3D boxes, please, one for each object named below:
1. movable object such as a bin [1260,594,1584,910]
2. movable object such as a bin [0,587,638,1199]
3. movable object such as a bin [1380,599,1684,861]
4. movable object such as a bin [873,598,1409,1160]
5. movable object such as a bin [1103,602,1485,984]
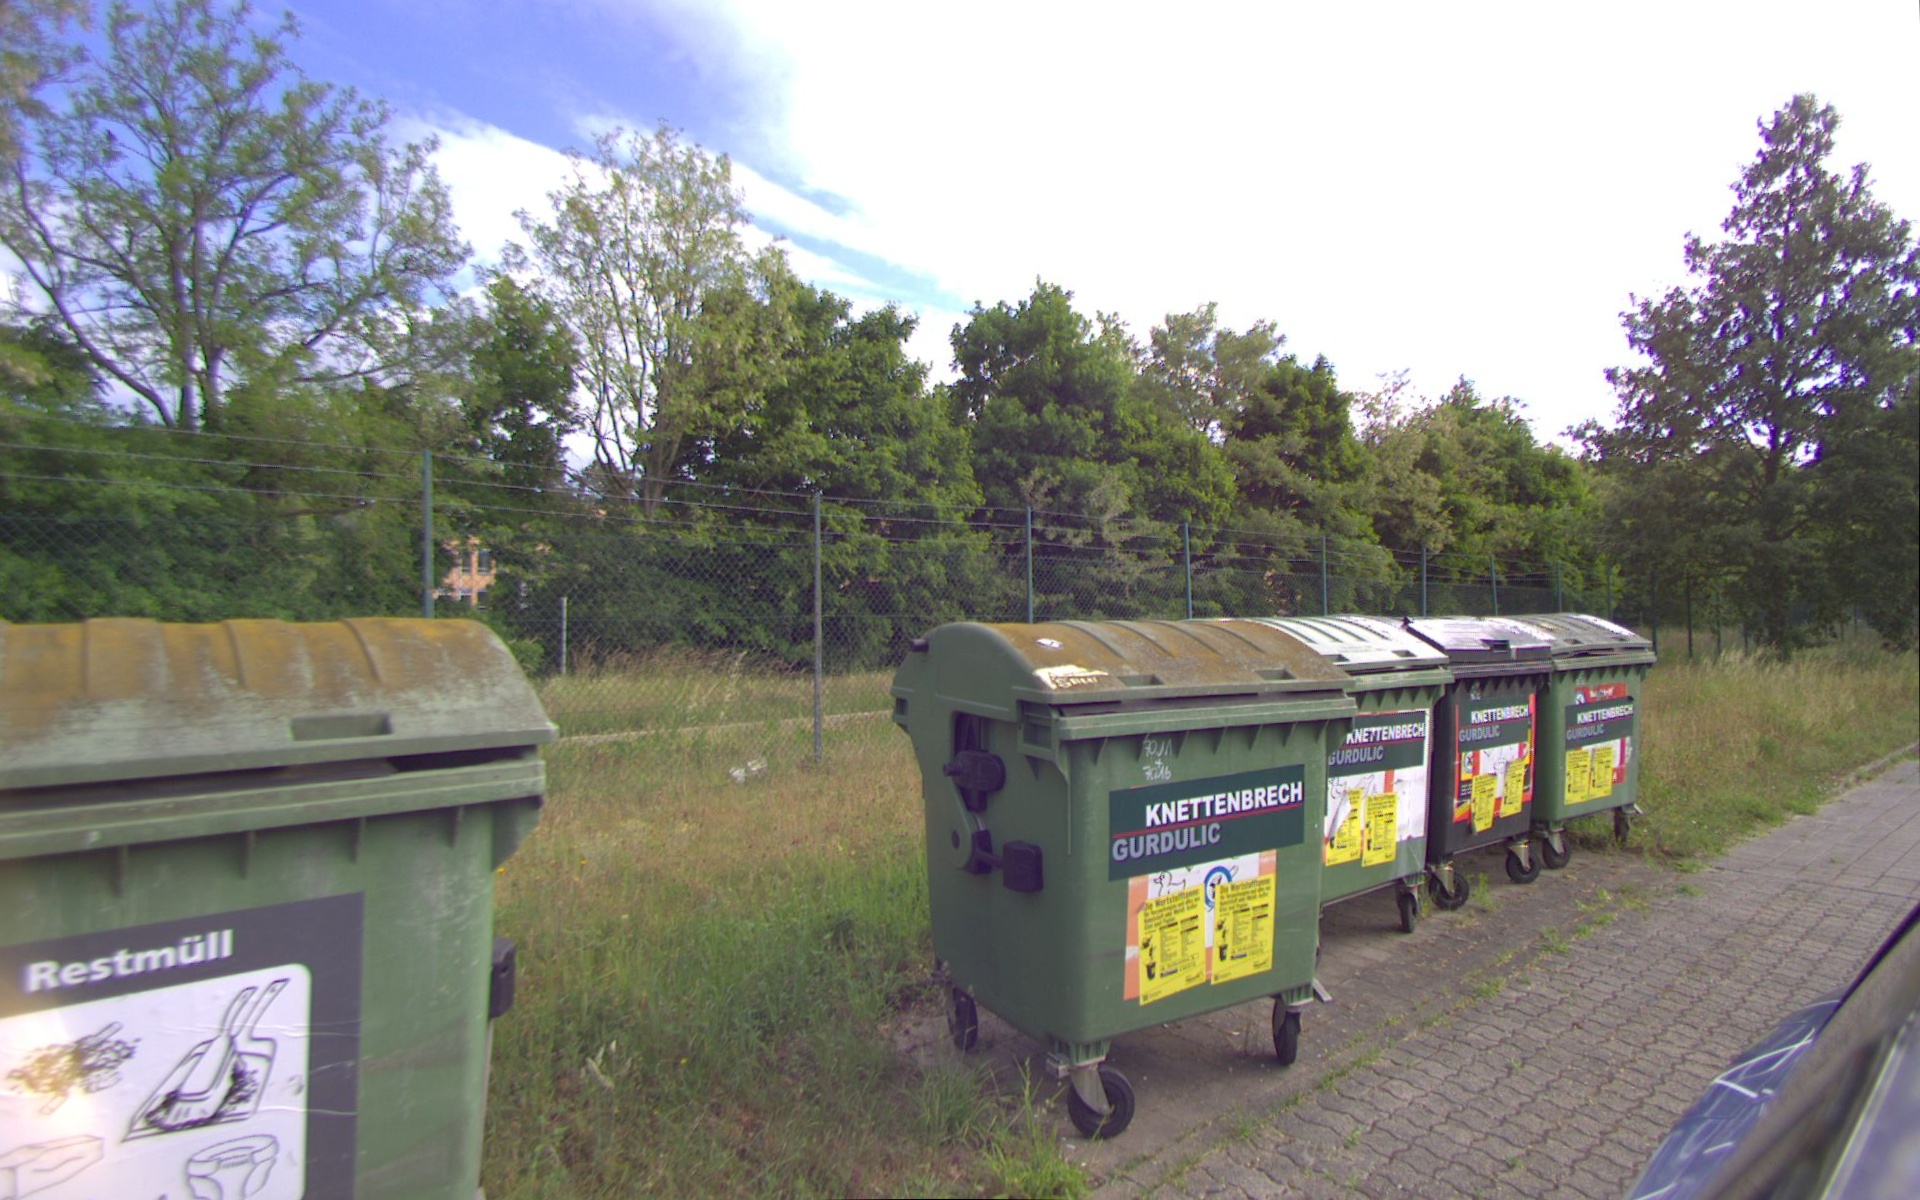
[{"bbox_3d":[2.531,0.709,5.551,1.372,1.453,1.072,-1,-1,-37],"label":"movable object such as a bin"},{"bbox_3d":[-1.466,0.647,1.835,1.355,1.312,1.125,-1,-1,-40],"label":"movable object such as a bin"},{"bbox_3d":[3.580,0.717,6.373,1.329,1.413,1.133,-1,-1,-31],"label":"movable object such as a bin"},{"bbox_3d":[0.565,0.718,3.419,1.357,1.416,1.127,-1,-1,-29],"label":"movable object such as a bin"},{"bbox_3d":[1.532,0.734,4.661,1.359,1.424,1.072,-1,-1,-37],"label":"movable object such as a bin"}]
